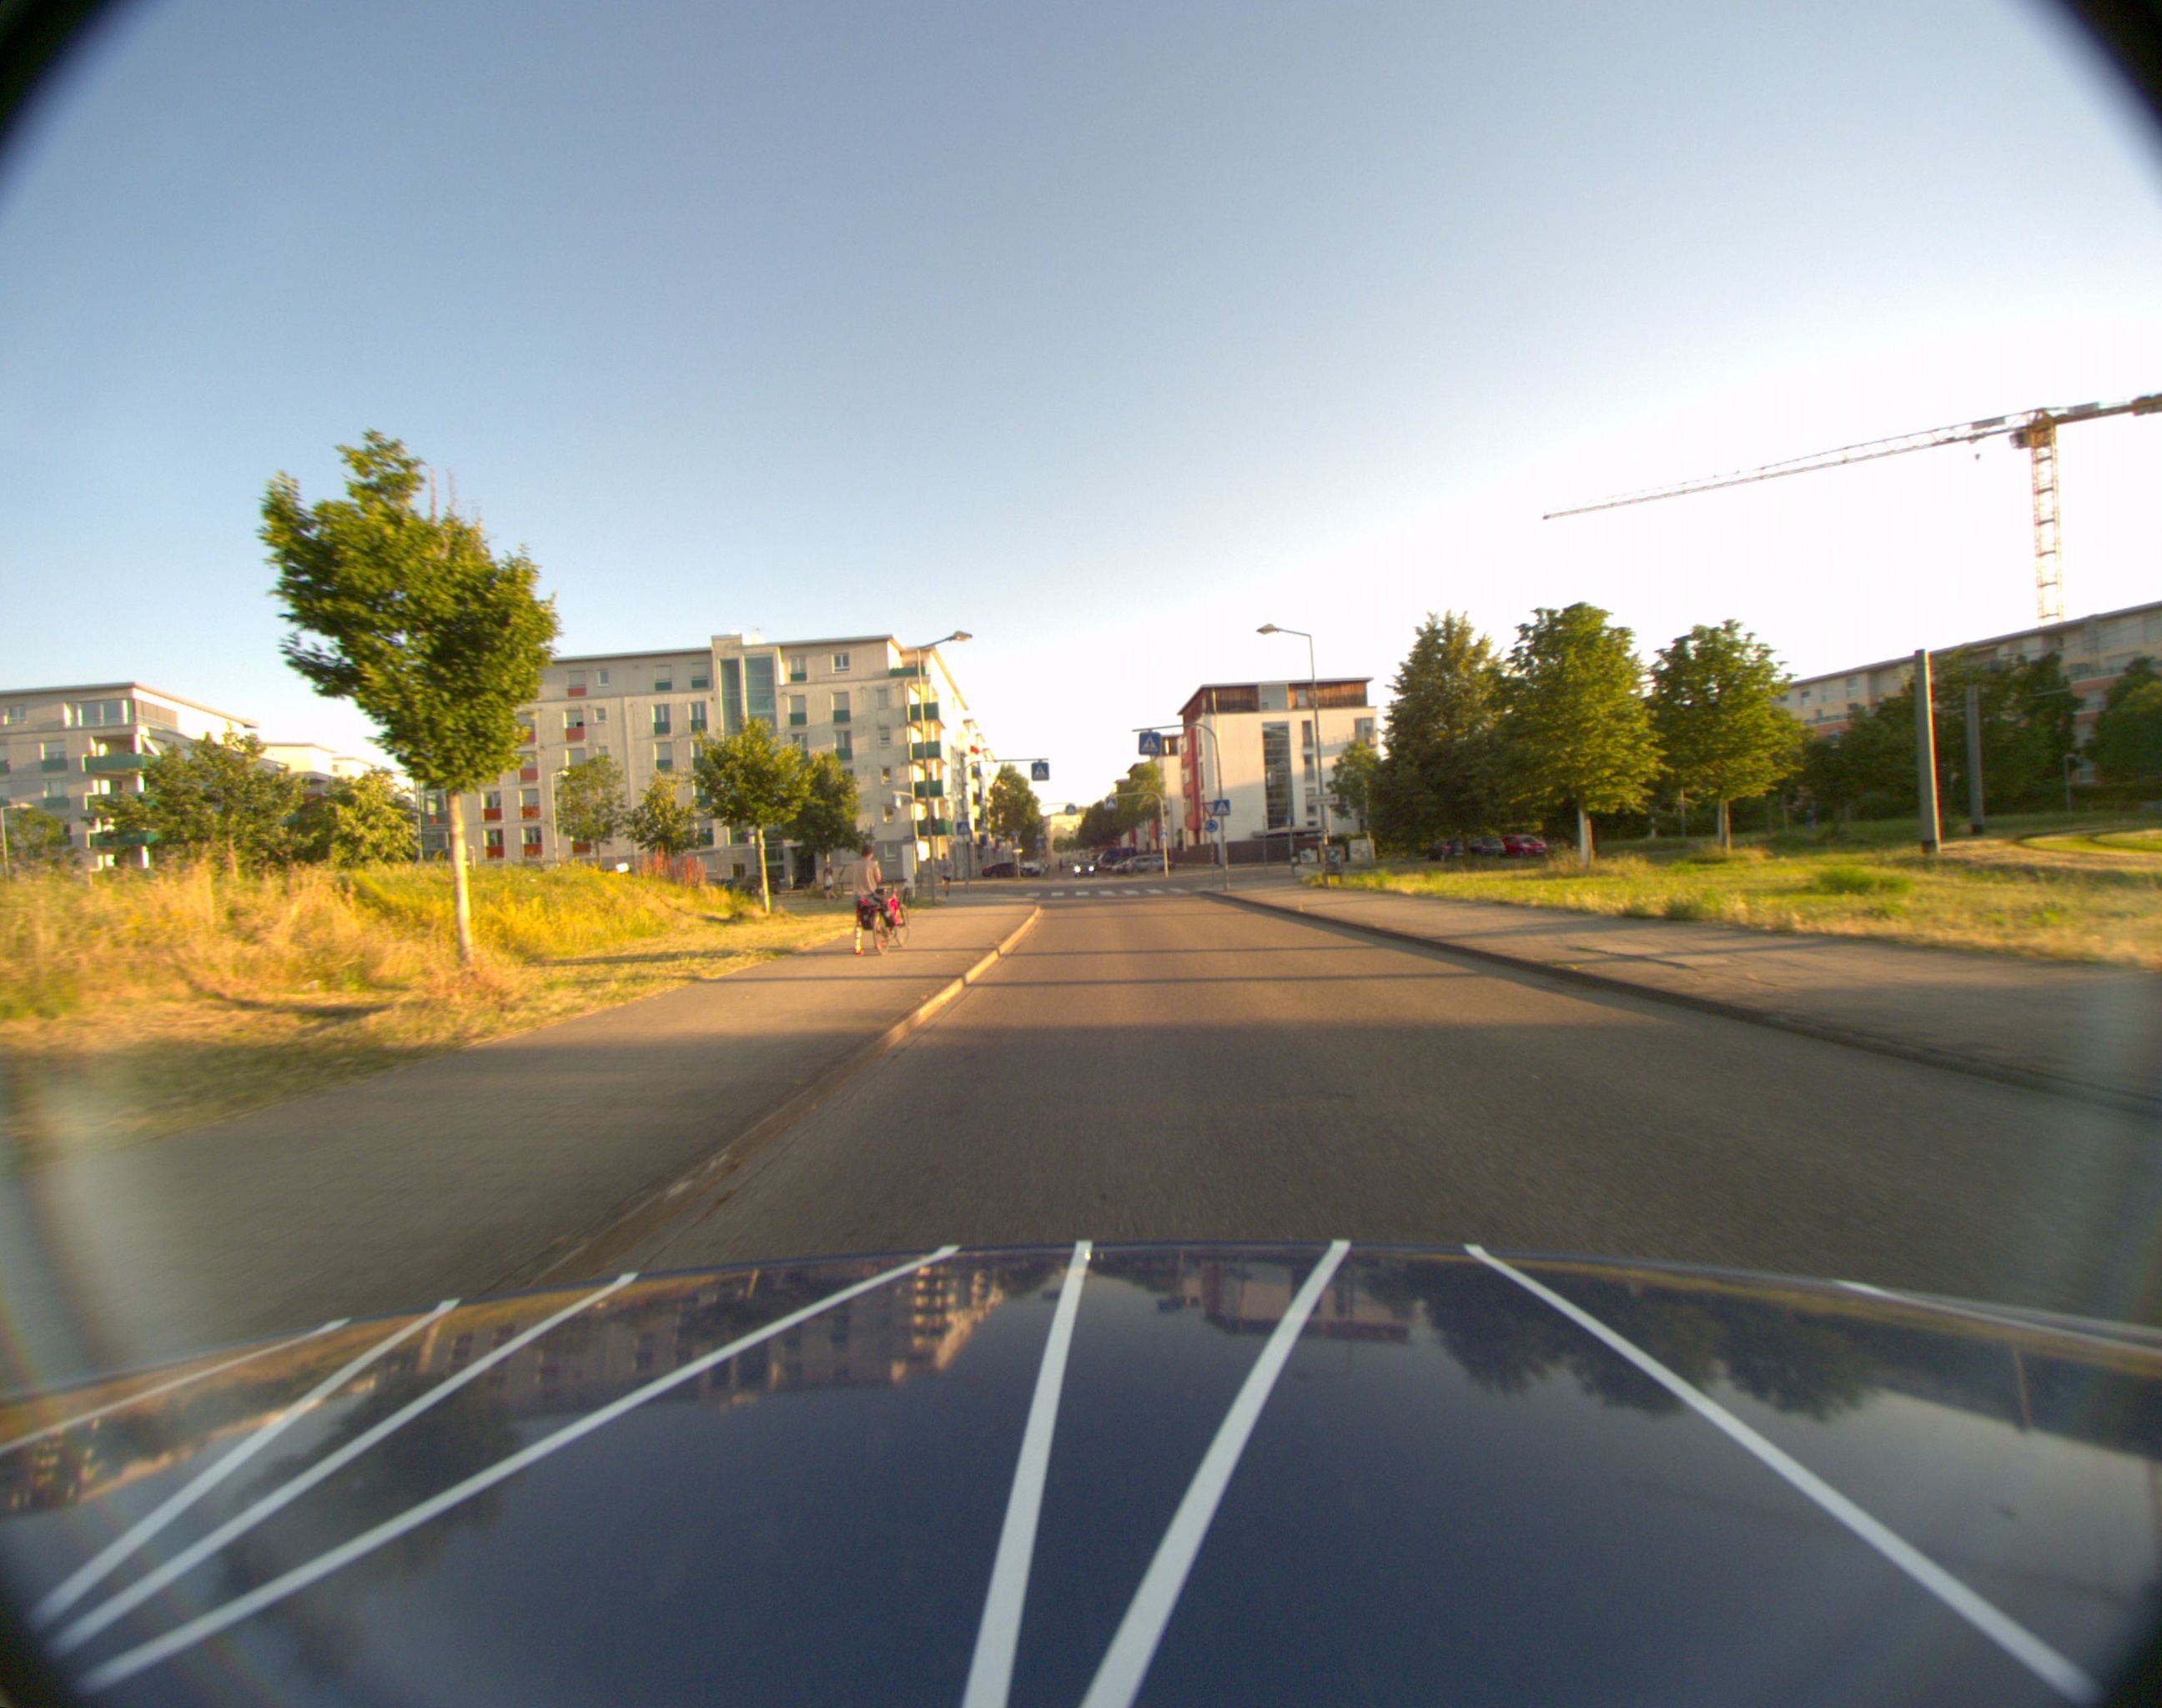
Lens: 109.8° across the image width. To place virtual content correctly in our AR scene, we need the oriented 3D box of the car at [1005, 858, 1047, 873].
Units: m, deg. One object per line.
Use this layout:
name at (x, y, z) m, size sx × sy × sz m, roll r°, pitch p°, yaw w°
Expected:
car at (-5.650, 1.169, 77.779) m, size 4.295 × 1.499 × 1.685 m, roll -1°, pitch 0°, yaw -5°

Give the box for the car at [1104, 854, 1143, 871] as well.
car at (4.639, 0.932, 82.952) m, size 3.920 × 1.506 × 1.723 m, roll -4°, pitch 0°, yaw -6°

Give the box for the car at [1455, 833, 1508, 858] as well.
car at (26.174, -0.534, 49.795) m, size 1.593 × 1.491 × 3.410 m, roll -3°, pitch 1°, yaw 0°

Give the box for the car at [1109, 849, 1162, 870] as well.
car at (5.227, 0.541, 73.358) m, size 4.761 × 1.575 × 1.758 m, roll -5°, pitch 0°, yaw -6°

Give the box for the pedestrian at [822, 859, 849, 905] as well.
pedestrian at (-9.966, 1.129, 30.816) m, size 0.734 × 1.774 × 0.802 m, roll -3°, pitch 0°, yaw -1°

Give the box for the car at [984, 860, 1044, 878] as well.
car at (-5.685, 1.264, 64.981) m, size 4.887 × 1.449 × 1.938 m, roll -1°, pitch 0°, yaw 0°

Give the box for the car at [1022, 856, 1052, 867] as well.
car at (-6.258, 1.057, 108.204) m, size 4.251 × 1.527 × 1.692 m, roll -1°, pitch 0°, yaw -1°

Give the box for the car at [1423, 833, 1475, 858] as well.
car at (24.172, -0.557, 50.011) m, size 1.689 × 1.513 × 3.410 m, roll -3°, pitch 1°, yaw 0°

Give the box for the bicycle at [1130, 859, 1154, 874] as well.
bicycle at (5.032, 1.008, 62.809) m, size 1.822 × 1.060 × 0.567 m, roll -6°, pitch 0°, yaw -4°

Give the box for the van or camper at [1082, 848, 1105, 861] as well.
van or camper at (2.440, 0.113, 148.174) m, size 4.251 × 2.520 × 1.760 m, roll -1°, pitch 0°, yaw -1°

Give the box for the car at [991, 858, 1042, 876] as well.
car at (-5.730, 1.147, 67.724) m, size 4.412 × 1.499 × 1.743 m, roll -1°, pitch 0°, yaw 1°

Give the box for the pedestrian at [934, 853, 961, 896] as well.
pedestrian at (-5.479, 0.833, 31.134) m, size 0.801 × 1.719 × 0.768 m, roll -3°, pitch 0°, yaw 6°

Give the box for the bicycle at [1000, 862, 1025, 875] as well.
bicycle at (-5.657, 1.190, 62.904) m, size 2.035 × 1.040 × 0.473 m, roll -1°, pitch -1°, yaw -6°

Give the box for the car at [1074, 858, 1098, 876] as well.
car at (0.453, 1.141, 67.118) m, size 1.777 × 1.454 × 4.177 m, roll -1°, pitch -1°, yaw -4°

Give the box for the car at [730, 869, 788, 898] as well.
car at (-21.245, 1.925, 50.285) m, size 1.832 × 1.479 × 4.479 m, roll -3°, pitch 2°, yaw 0°

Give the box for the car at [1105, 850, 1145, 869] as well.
car at (4.629, 0.558, 80.710) m, size 3.920 × 1.700 × 1.723 m, roll -4°, pitch 0°, yaw -6°

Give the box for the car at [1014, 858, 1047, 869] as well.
car at (-6.757, 1.285, 102.260) m, size 4.251 × 1.527 × 1.692 m, roll -1°, pitch 0°, yaw -1°

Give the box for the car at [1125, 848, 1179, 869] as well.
car at (6.584, 0.407, 70.745) m, size 4.785 × 1.546 × 1.711 m, roll -5°, pitch 0°, yaw 2°

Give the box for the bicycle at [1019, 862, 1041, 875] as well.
bicycle at (-4.193, 1.194, 62.558) m, size 1.840 × 1.065 × 0.473 m, roll -1°, pitch -1°, yaw -6°

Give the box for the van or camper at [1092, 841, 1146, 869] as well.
van or camper at (4.721, 0.124, 96.075) m, size 6.316 × 3.069 × 2.441 m, roll -4°, pitch 0°, yaw -6°

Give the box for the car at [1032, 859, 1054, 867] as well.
car at (-7.763, 1.898, 155.740) m, size 4.251 × 1.629 × 1.692 m, roll -1°, pitch 0°, yaw -1°

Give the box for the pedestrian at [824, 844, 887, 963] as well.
pedestrian at (-3.553, 0.763, 12.022) m, size 0.596 × 1.791 × 0.818 m, roll -3°, pitch 0°, yaw 4°

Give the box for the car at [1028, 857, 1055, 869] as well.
car at (-6.327, 1.454, 121.343) m, size 4.251 × 1.768 × 1.692 m, roll -1°, pitch 0°, yaw -1°

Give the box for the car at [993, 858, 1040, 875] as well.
car at (-5.943, 1.123, 70.457) m, size 4.294 × 1.485 × 1.742 m, roll -1°, pitch 0°, yaw -3°

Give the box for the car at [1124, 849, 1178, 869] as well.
car at (6.032, 0.445, 65.620) m, size 4.292 × 1.449 × 1.680 m, roll -4°, pitch 0°, yaw -4°

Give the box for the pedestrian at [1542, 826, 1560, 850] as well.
pedestrian at (32.658, -1.095, 52.794) m, size 0.713 × 1.590 × 0.656 m, roll -5°, pitch 1°, yaw -6°

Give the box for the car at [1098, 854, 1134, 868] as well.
car at (4.179, 0.817, 91.173) m, size 4.103 × 1.616 × 1.723 m, roll -1°, pitch 0°, yaw -6°

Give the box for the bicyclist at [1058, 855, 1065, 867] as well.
bicyclist at (-2.525, 0.940, 99.935) m, size 0.767 × 1.618 × 0.663 m, roll -3°, pitch 0°, yaw -3°

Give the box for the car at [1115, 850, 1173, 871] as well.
car at (5.615, 0.604, 68.002) m, size 4.916 × 1.469 × 1.710 m, roll -5°, pitch 0°, yaw -4°

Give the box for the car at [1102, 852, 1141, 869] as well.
car at (4.552, 0.774, 86.526) m, size 4.103 × 1.616 × 1.723 m, roll -4°, pitch 0°, yaw -6°

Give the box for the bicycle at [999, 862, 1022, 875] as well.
bicycle at (-5.745, 1.187, 61.833) m, size 1.793 × 1.035 × 0.567 m, roll -1°, pitch -1°, yaw -6°

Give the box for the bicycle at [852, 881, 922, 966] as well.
bicycle at (-3.031, 1.047, 12.048) m, size 0.451 × 1.162 × 1.941 m, roll -3°, pitch -1°, yaw 3°

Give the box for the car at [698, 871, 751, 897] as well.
car at (-23.780, 1.961, 50.784) m, size 1.558 × 1.366 × 4.004 m, roll -3°, pitch 2°, yaw 0°

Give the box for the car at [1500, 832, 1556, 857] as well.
car at (28.981, -0.629, 49.374) m, size 1.593 × 1.491 × 3.410 m, roll -3°, pitch 1°, yaw 0°

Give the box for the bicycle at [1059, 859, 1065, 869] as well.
bicycle at (-2.499, 1.382, 99.969) m, size 0.772 × 1.259 × 1.781 m, roll -3°, pitch -1°, yaw -3°
